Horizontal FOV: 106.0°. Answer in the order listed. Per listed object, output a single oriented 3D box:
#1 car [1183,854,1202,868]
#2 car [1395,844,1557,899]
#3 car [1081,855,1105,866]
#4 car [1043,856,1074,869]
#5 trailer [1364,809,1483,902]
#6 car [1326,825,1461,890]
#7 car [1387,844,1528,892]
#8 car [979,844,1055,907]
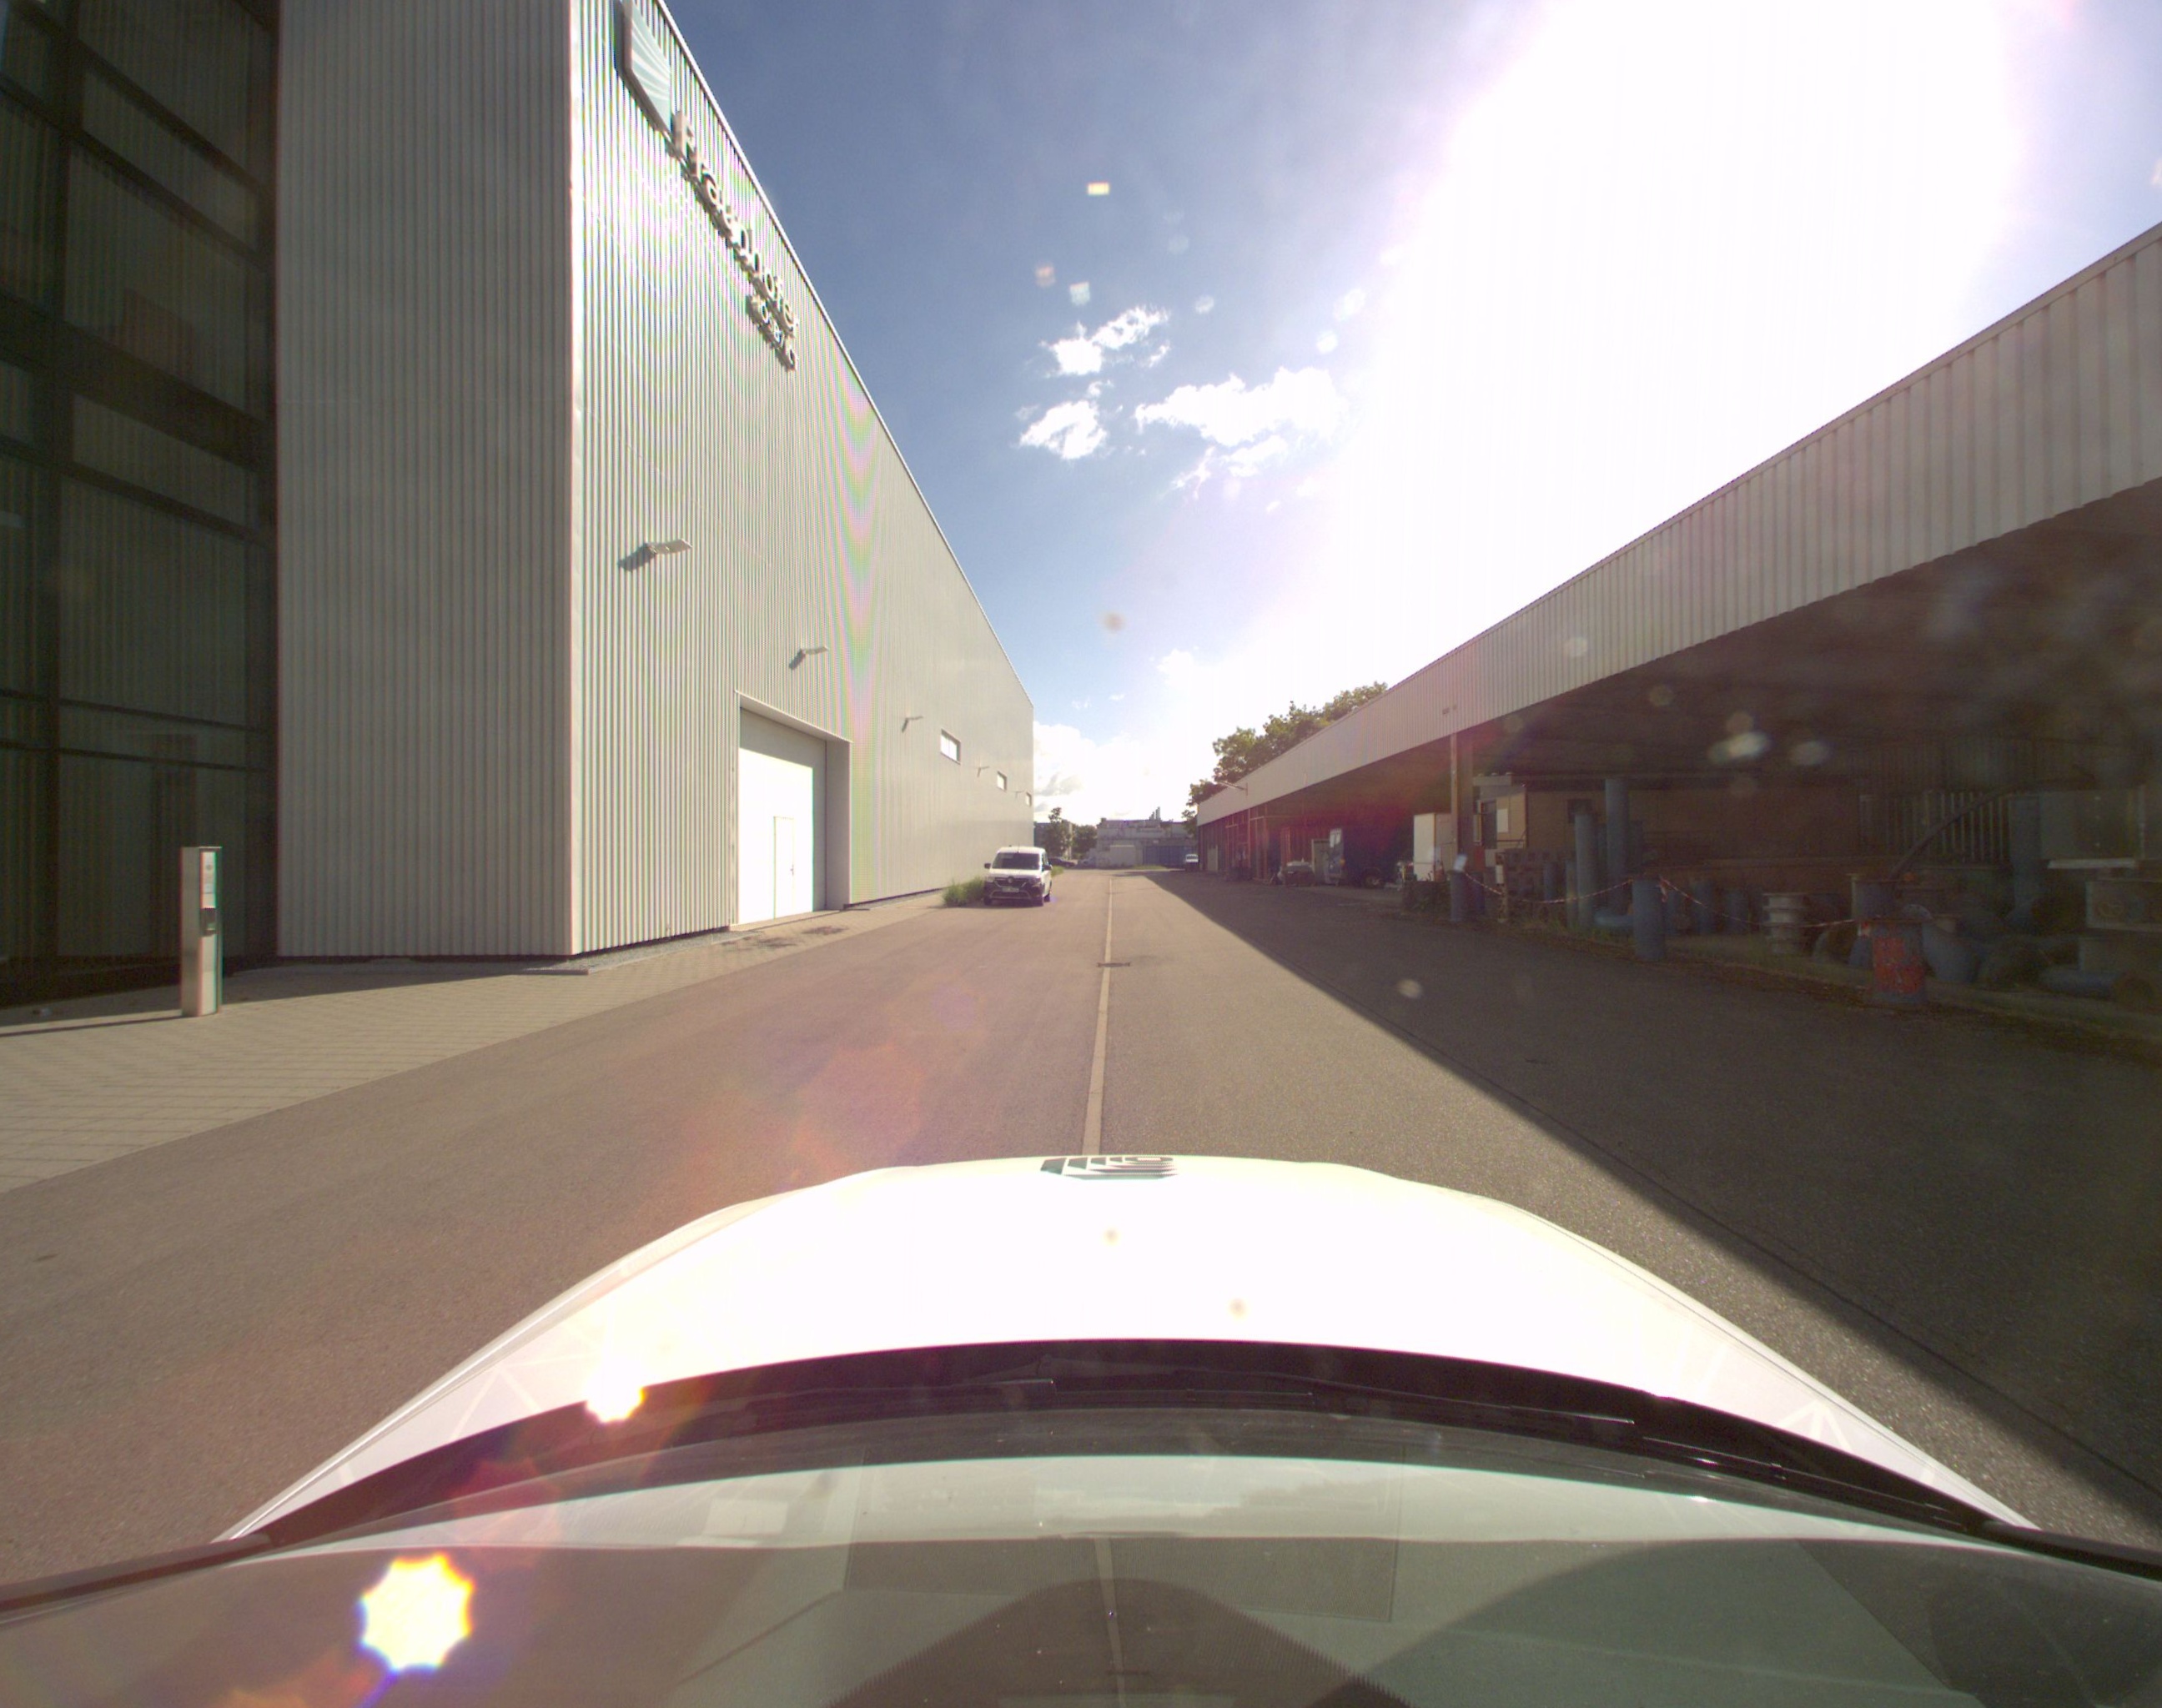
[{"bbox_3d":[12.986,0.834,95.193,1.953,1.564,4.063,1,0,4],"label":"car"},{"bbox_3d":[11.623,0.530,24.176,4.021,1.525,1.685,1,-2,3],"label":"car"},{"bbox_3d":[1.956,1.082,135.836,3.973,1.598,1.848,1,-2,1],"label":"car"},{"bbox_3d":[-2.955,1.111,108.068,3.973,1.598,1.741,1,-2,1],"label":"car"},{"bbox_3d":[9.178,0.059,21.980,2.513,2.399,1.728,-1,-1,3],"label":"trailer"},{"bbox_3d":[11.693,0.165,30.703,4.414,2.310,1.916,1,-2,3],"label":"car"},{"bbox_3d":[12.679,0.477,27.573,4.021,1.525,1.685,1,-2,3],"label":"car"},{"bbox_3d":[-1.914,0.621,25.751,1.811,1.787,4.408,1,0,3],"label":"car"}]
